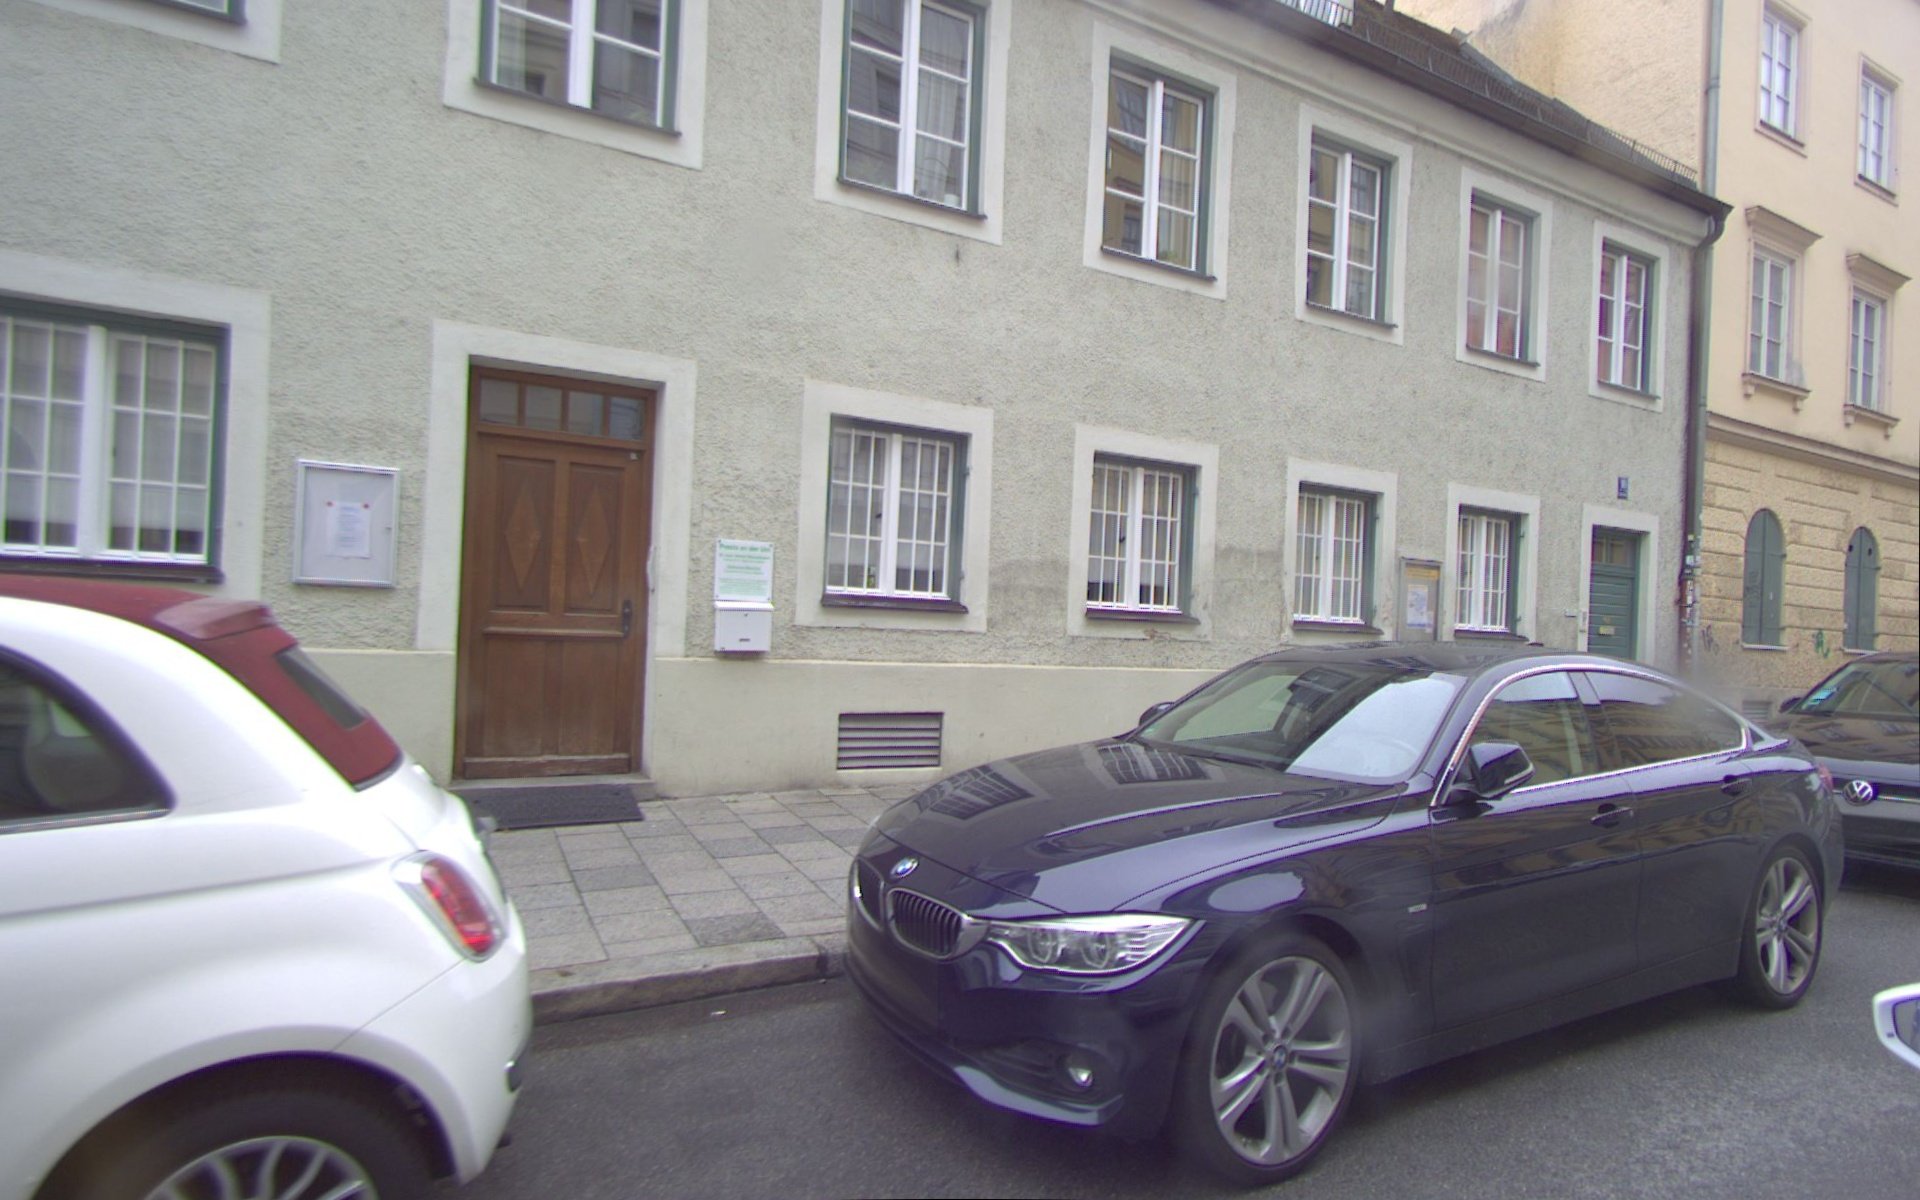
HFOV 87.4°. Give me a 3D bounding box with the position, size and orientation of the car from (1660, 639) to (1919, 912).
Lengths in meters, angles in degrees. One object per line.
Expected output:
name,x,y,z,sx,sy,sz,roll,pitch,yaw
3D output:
car,6.864,1.058,6.879,4.221,1.420,1.847,2,0,-32

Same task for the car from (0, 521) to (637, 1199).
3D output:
car,-2.515,0.605,1.825,3.384,1.534,1.561,2,0,-31

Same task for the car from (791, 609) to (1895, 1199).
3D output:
car,1.649,0.839,4.059,4.217,1.420,1.849,2,0,-28
